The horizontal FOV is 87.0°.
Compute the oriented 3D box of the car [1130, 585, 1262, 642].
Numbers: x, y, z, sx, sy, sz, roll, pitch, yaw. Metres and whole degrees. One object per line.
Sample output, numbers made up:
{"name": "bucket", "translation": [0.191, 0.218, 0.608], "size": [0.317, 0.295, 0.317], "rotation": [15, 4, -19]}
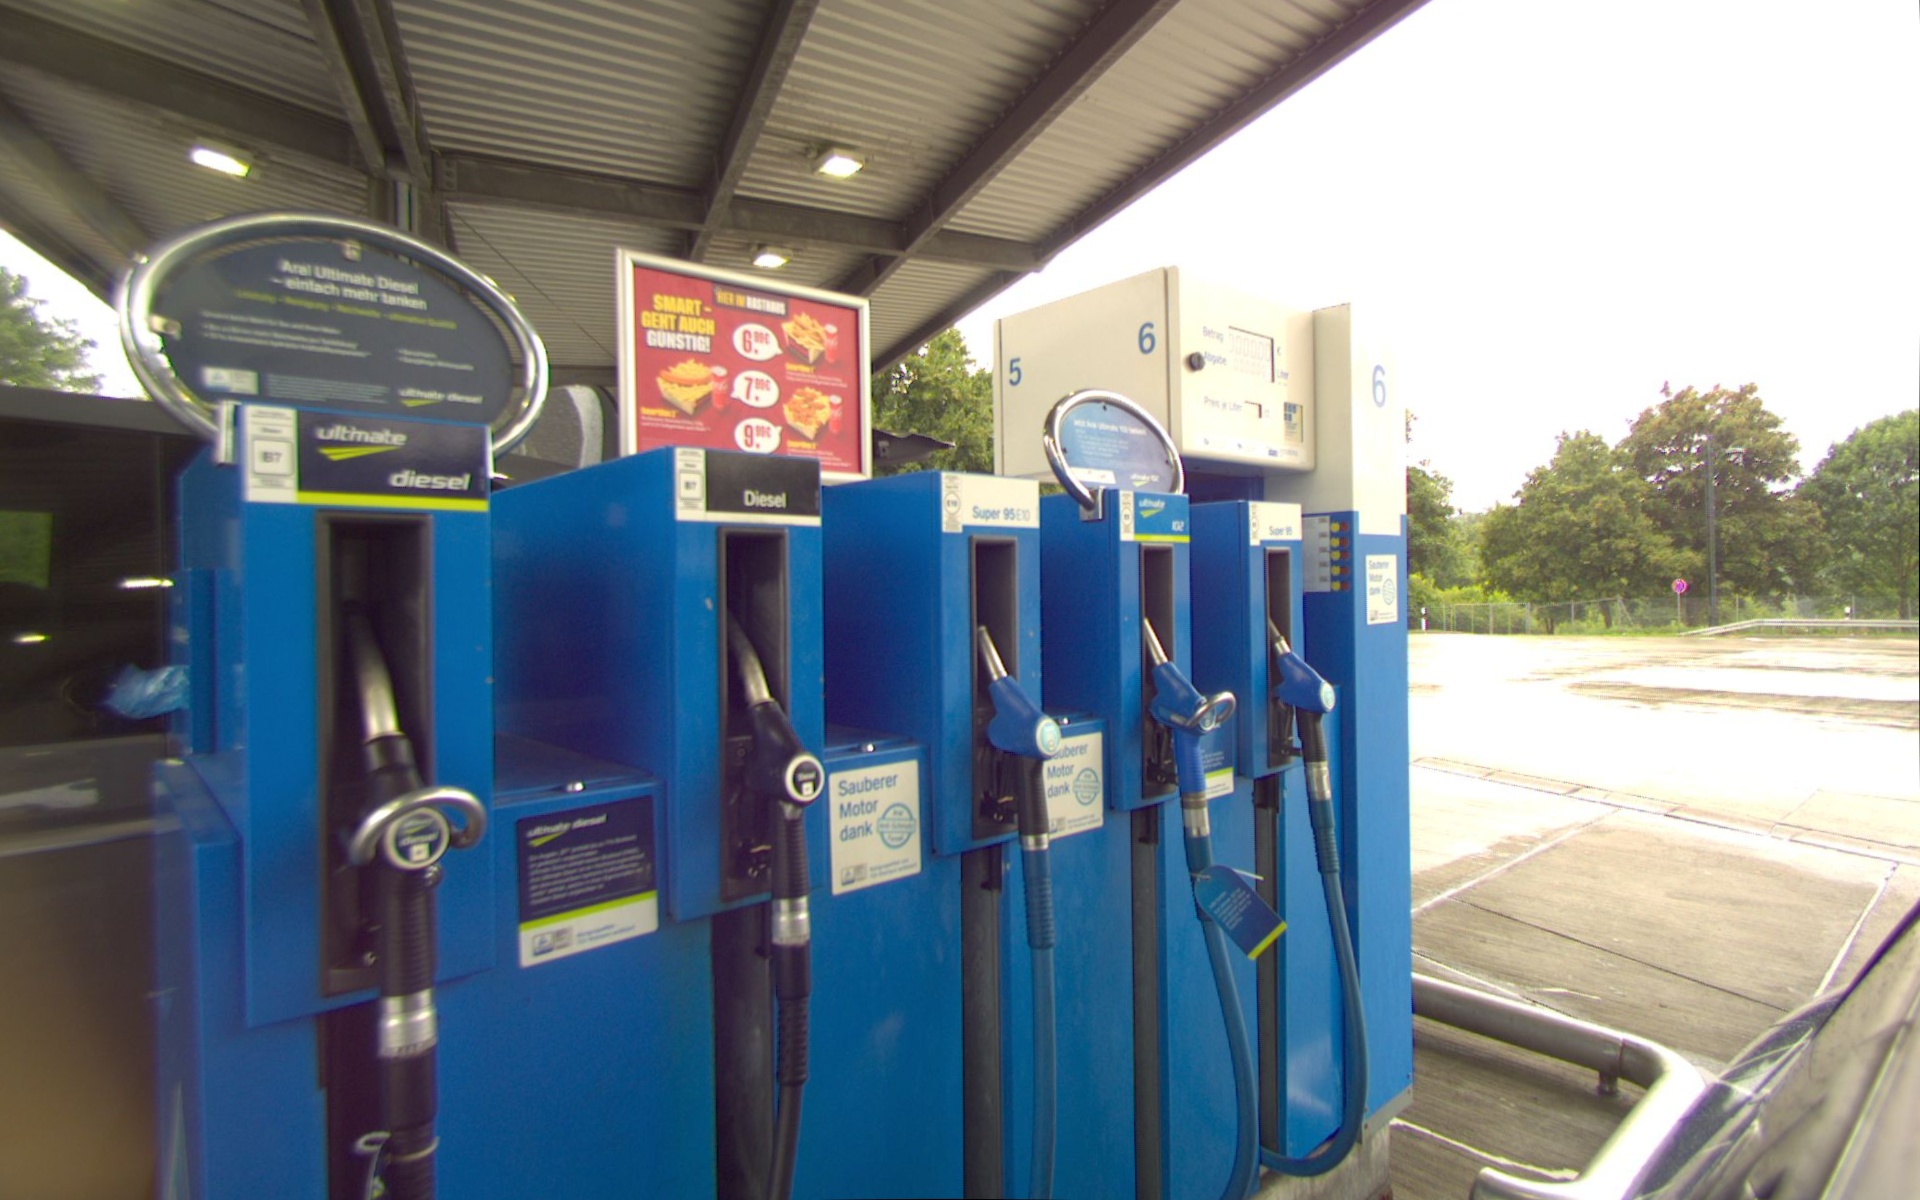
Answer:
{"name": "car", "translation": [7.399, 0.384, 31.896], "size": [3.941, 1.680, 1.593], "rotation": [1, 0, 14]}

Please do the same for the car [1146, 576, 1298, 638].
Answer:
{"name": "car", "translation": [8.862, 0.206, 34.479], "size": [4.817, 1.974, 2.306], "rotation": [1, 1, 14]}

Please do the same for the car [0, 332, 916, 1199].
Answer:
{"name": "car", "translation": [-2.629, 0.500, 1.794], "size": [5.050, 1.821, 1.864], "rotation": [-1, 0, -41]}

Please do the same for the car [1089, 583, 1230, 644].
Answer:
{"name": "car", "translation": [5.845, 0.373, 29.705], "size": [3.941, 1.680, 1.593], "rotation": [1, 0, 14]}
